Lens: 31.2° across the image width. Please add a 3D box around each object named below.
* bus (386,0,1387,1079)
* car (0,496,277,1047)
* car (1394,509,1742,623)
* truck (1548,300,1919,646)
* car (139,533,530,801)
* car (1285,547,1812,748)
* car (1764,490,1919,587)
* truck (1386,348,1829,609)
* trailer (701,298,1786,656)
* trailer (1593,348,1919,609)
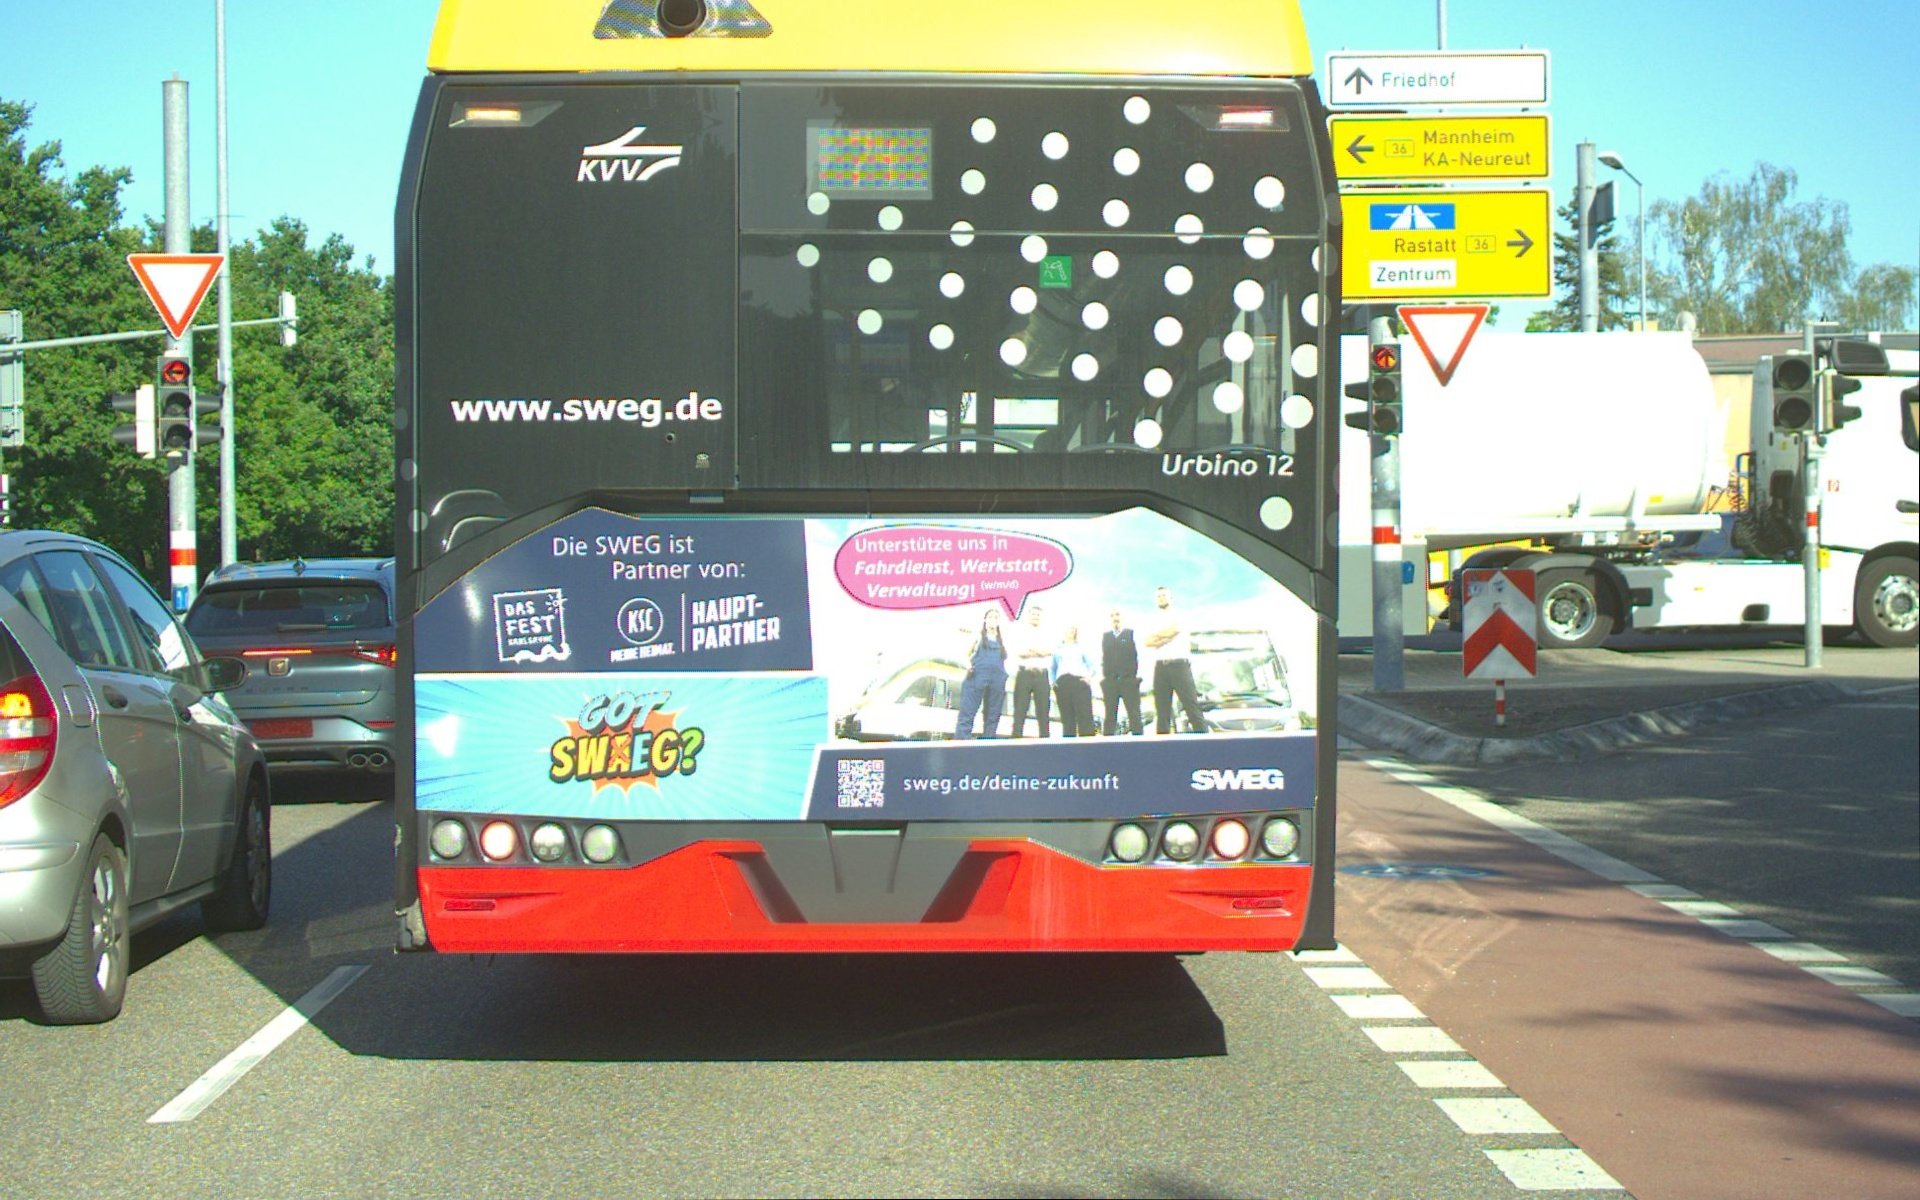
[{"bbox_3d":[-0.262,-0.518,14.993,2.596,3.323,11.984,0,1,-1],"label":"bus"},{"bbox_3d":[-3.607,0.460,12.195,1.753,1.614,4.034,-1,2,-3],"label":"car"},{"bbox_3d":[7.316,-0.411,41.499,3.845,1.308,1.508,-1,0,-9],"label":"car"},{"bbox_3d":[9.189,-1.394,38.091,4.800,3.682,2.411,-1,1,-5],"label":"truck"},{"bbox_3d":[-3.729,0.368,21.071,1.588,1.480,3.682,-1,0,2],"label":"car"},{"bbox_3d":[4.102,0.305,24.200,3.523,1.297,1.574,1,2,8],"label":"car"},{"bbox_3d":[13.476,-0.834,47.860,4.159,1.298,1.575,0,0,-3],"label":"car"},{"bbox_3d":[10.168,-1.908,54.248,6.396,3.984,2.473,-1,1,-7],"label":"truck"},{"bbox_3d":[3.000,-1.348,37.379,11.473,3.683,2.396,-1,1,-6],"label":"trailer"},{"bbox_3d":[16.700,-1.960,55.013,12.731,4.016,2.471,-1,1,-7],"label":"trailer"}]
